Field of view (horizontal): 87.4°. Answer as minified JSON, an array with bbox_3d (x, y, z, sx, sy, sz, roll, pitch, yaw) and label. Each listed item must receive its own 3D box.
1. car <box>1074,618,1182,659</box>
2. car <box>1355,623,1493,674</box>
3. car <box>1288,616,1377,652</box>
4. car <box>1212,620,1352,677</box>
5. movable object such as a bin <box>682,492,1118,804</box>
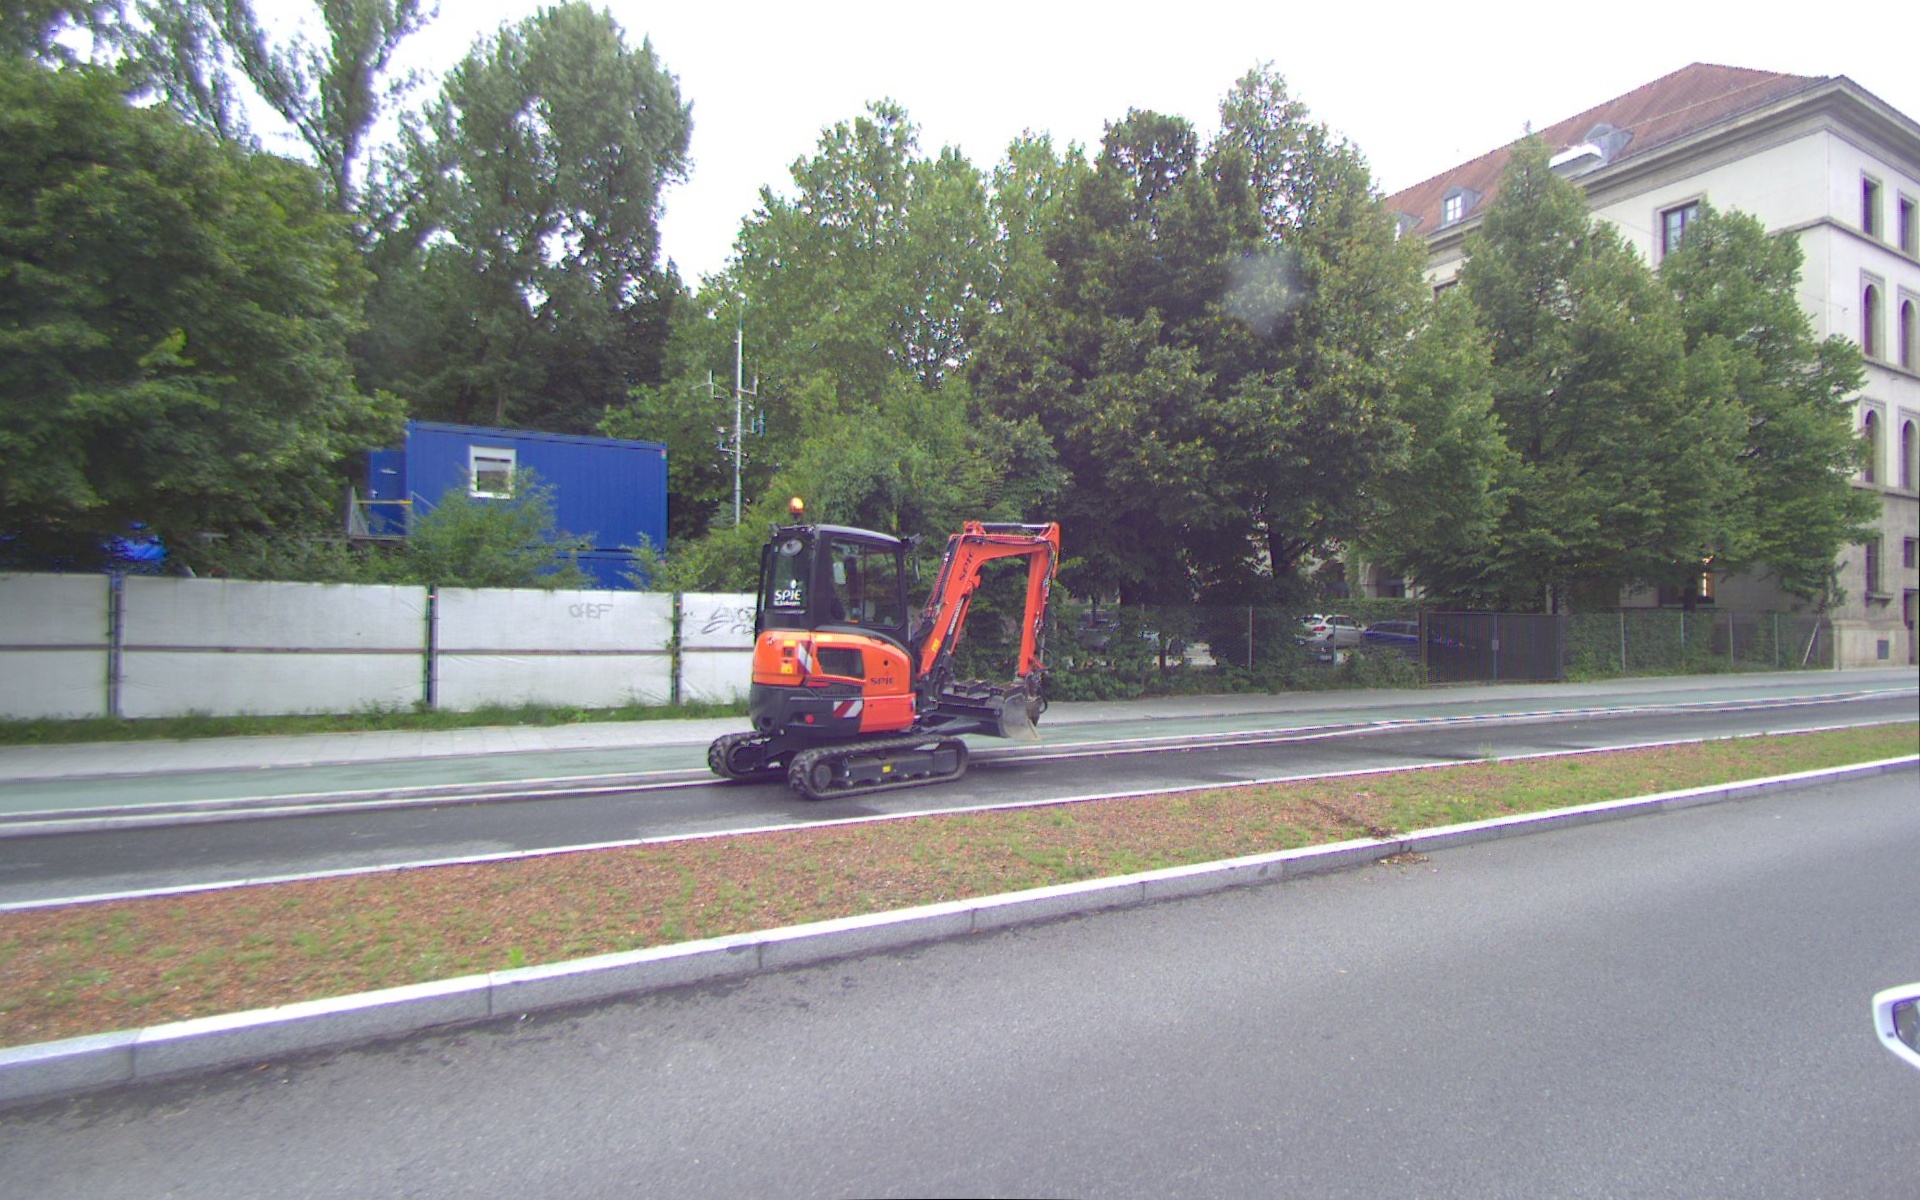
[{"bbox_3d":[6.819,1.528,40.620,4.129,1.566,1.821,0,0,-31],"label":"car"},{"bbox_3d":[15.613,1.588,33.985,1.815,1.566,3.908,0,0,-30],"label":"car"},{"bbox_3d":[17.252,1.539,46.498,3.895,1.566,1.821,0,0,-31],"label":"car"},{"bbox_3d":[9.806,1.440,30.842,1.815,1.566,3.908,0,0,-30],"label":"car"},{"bbox_3d":[-0.454,0.467,10.969,1.973,2.676,4.636,-1,-2,45],"label":"movable object such as a bin"}]
